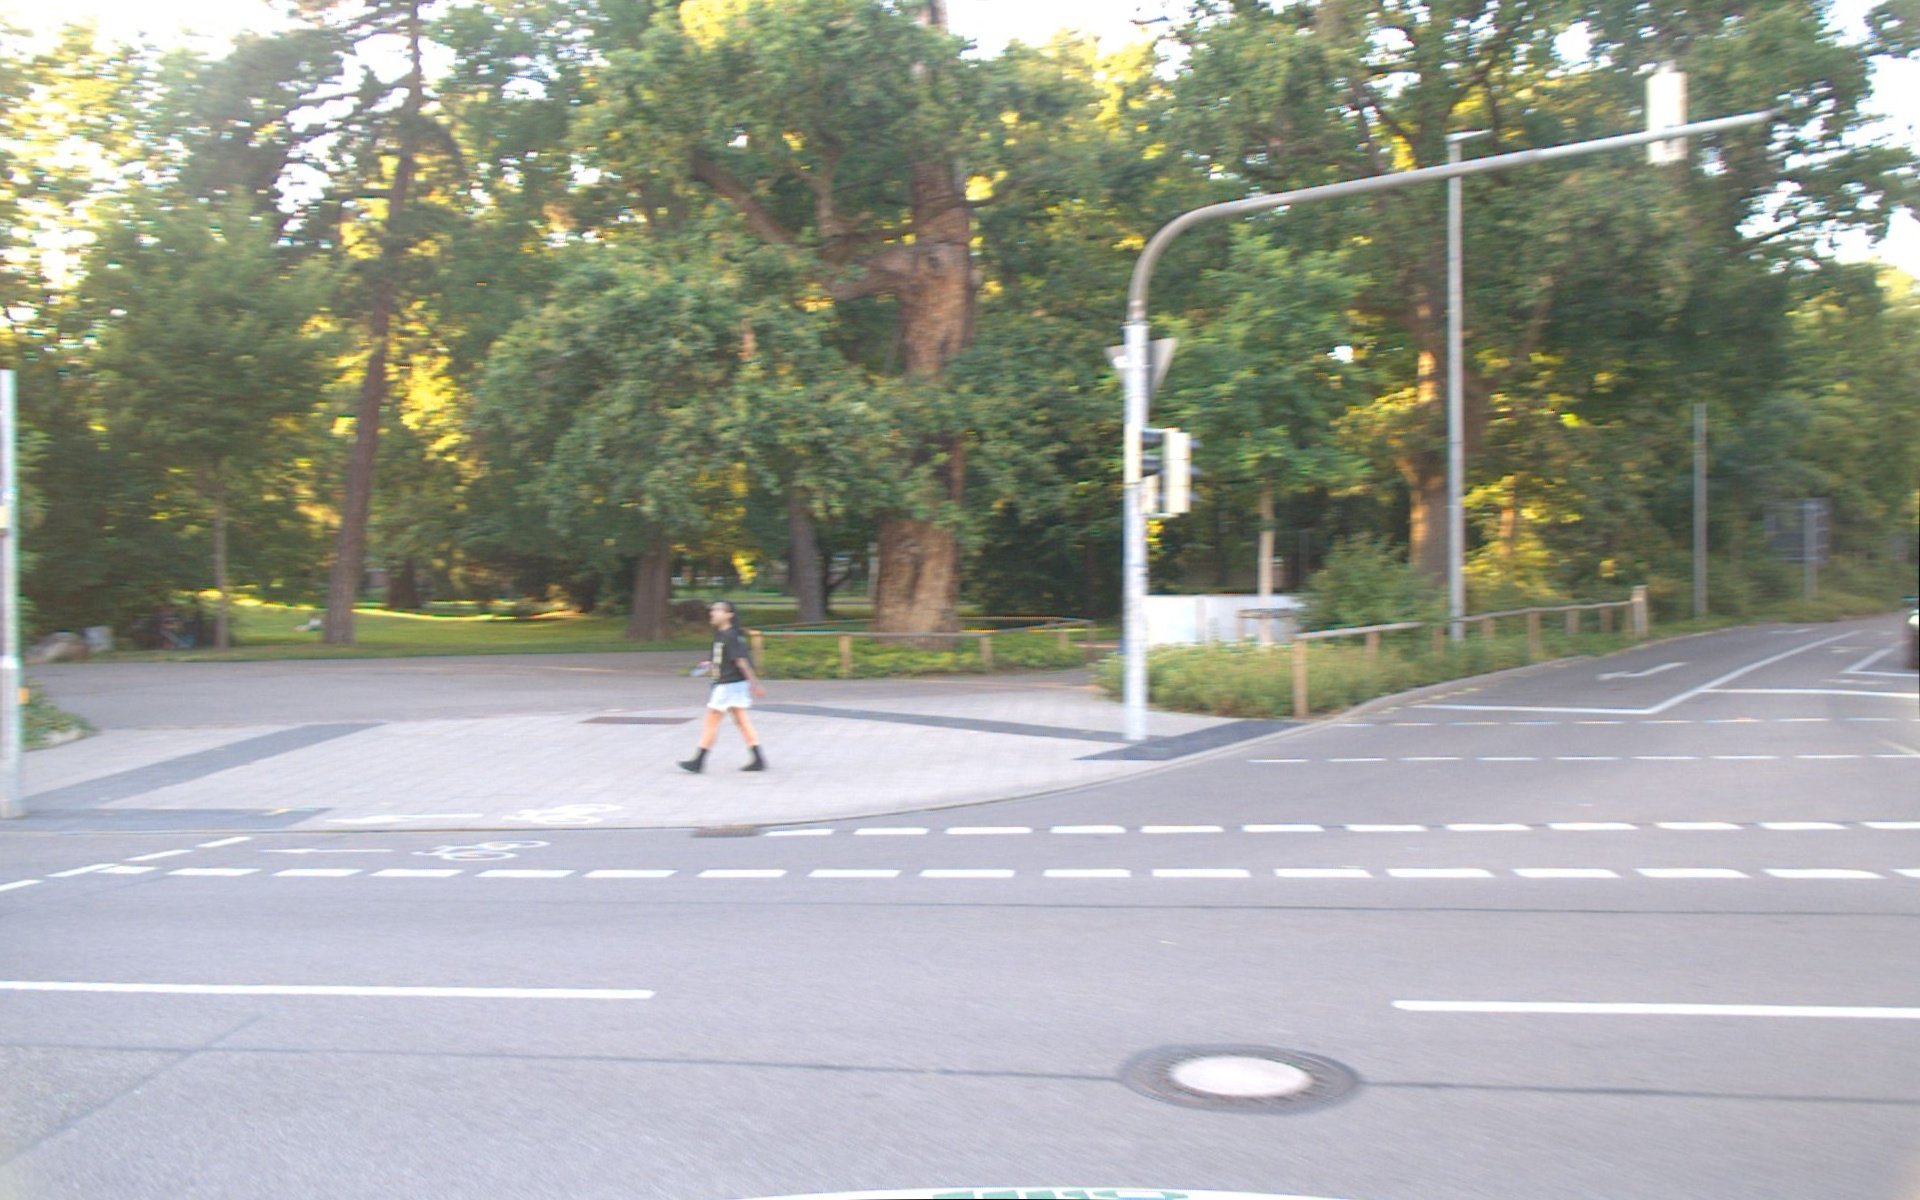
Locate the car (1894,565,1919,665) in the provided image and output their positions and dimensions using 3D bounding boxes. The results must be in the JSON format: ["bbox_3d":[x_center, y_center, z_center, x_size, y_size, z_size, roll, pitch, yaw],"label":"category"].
[{"bbox_3d":[16.287,0.212,26.779,1.792,1.543,3.566,1,1,33],"label":"car"}]

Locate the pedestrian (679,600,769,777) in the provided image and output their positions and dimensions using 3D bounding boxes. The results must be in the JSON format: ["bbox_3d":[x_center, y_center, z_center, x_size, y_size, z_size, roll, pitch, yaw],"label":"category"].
[{"bbox_3d":[-2.113,0.781,14.859,0.603,1.530,0.581,0,2,13],"label":"pedestrian"}]
